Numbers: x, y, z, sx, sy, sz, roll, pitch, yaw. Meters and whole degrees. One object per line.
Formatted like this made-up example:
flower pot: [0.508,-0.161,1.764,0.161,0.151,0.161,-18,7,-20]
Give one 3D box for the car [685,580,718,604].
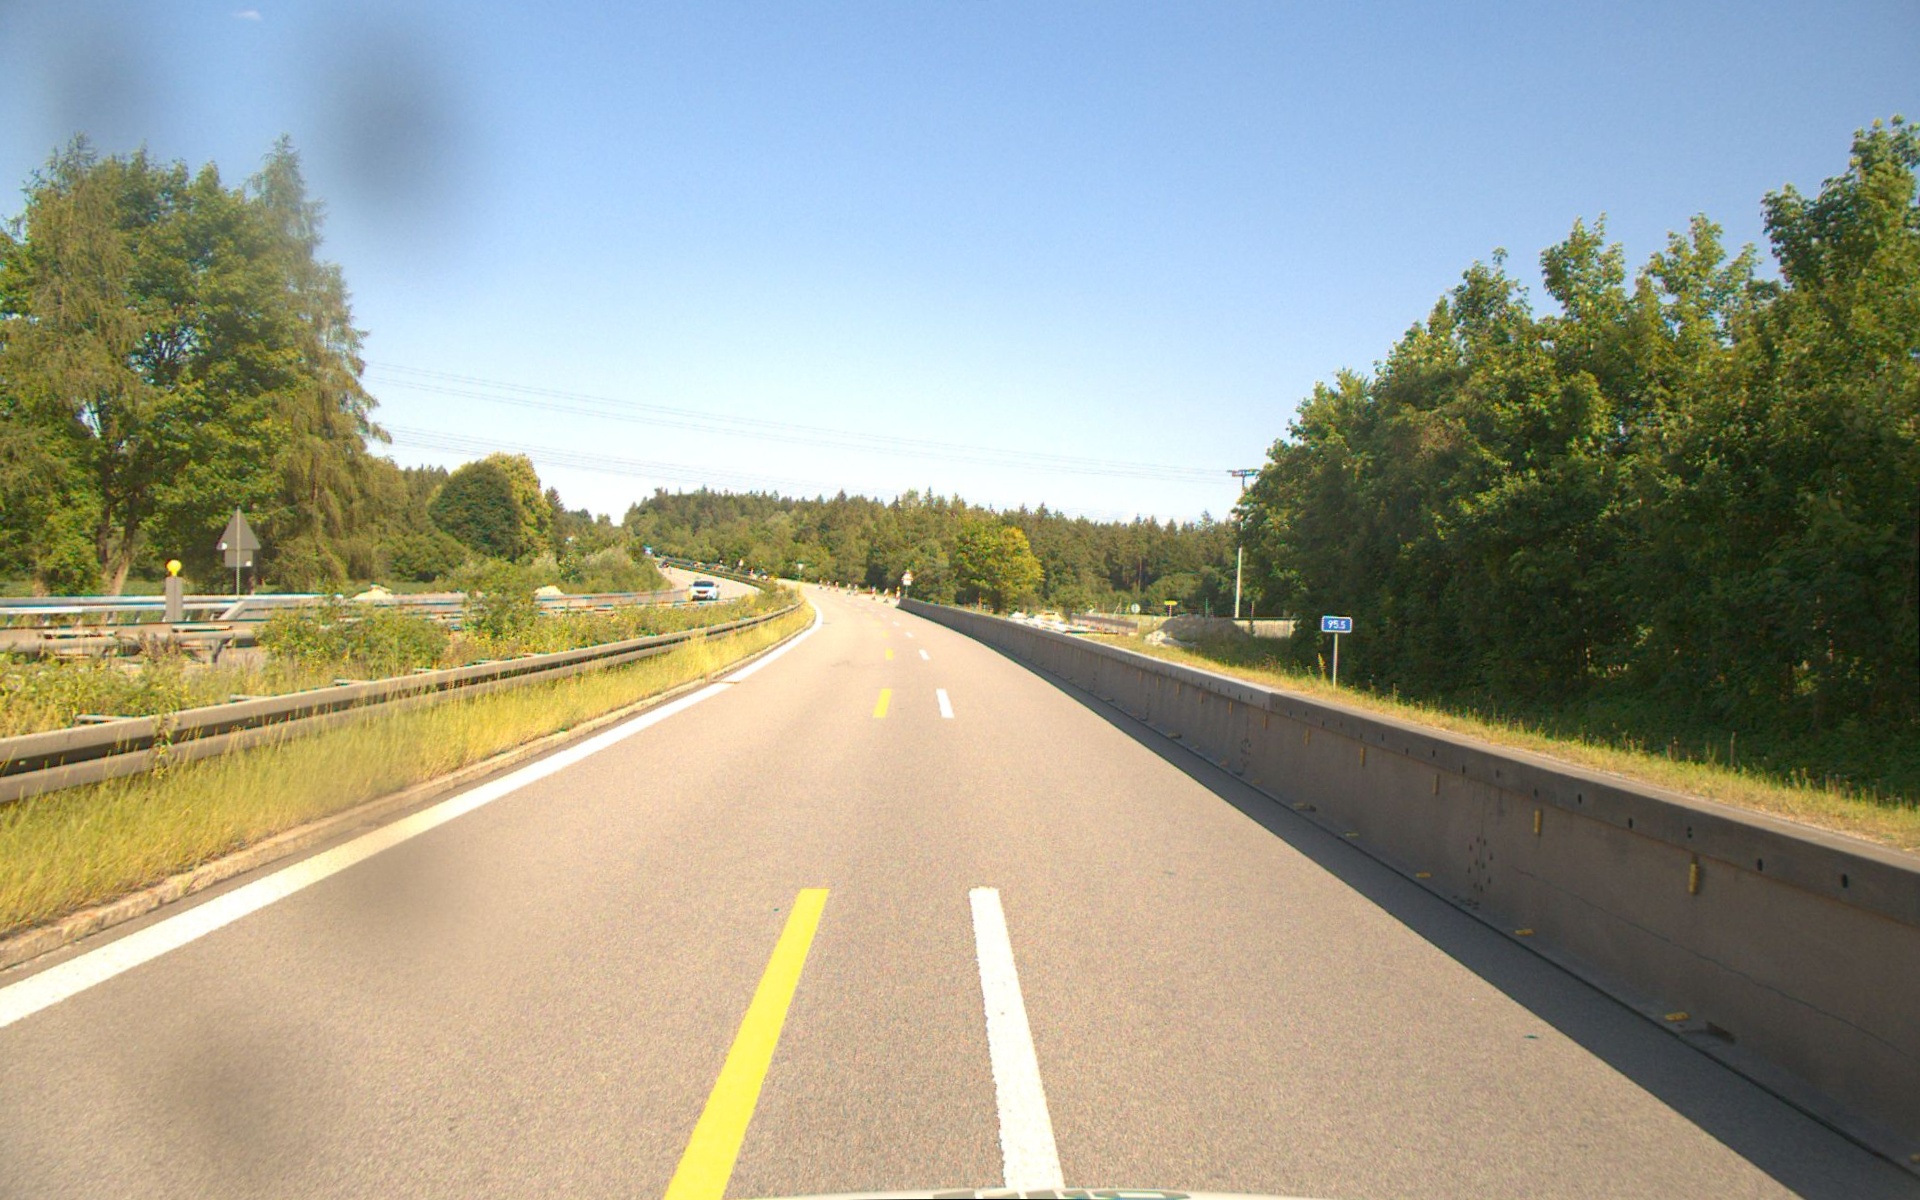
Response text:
car: [-16.942,-0.507,108.736,1.725,1.538,4.531,1,0,-4]
